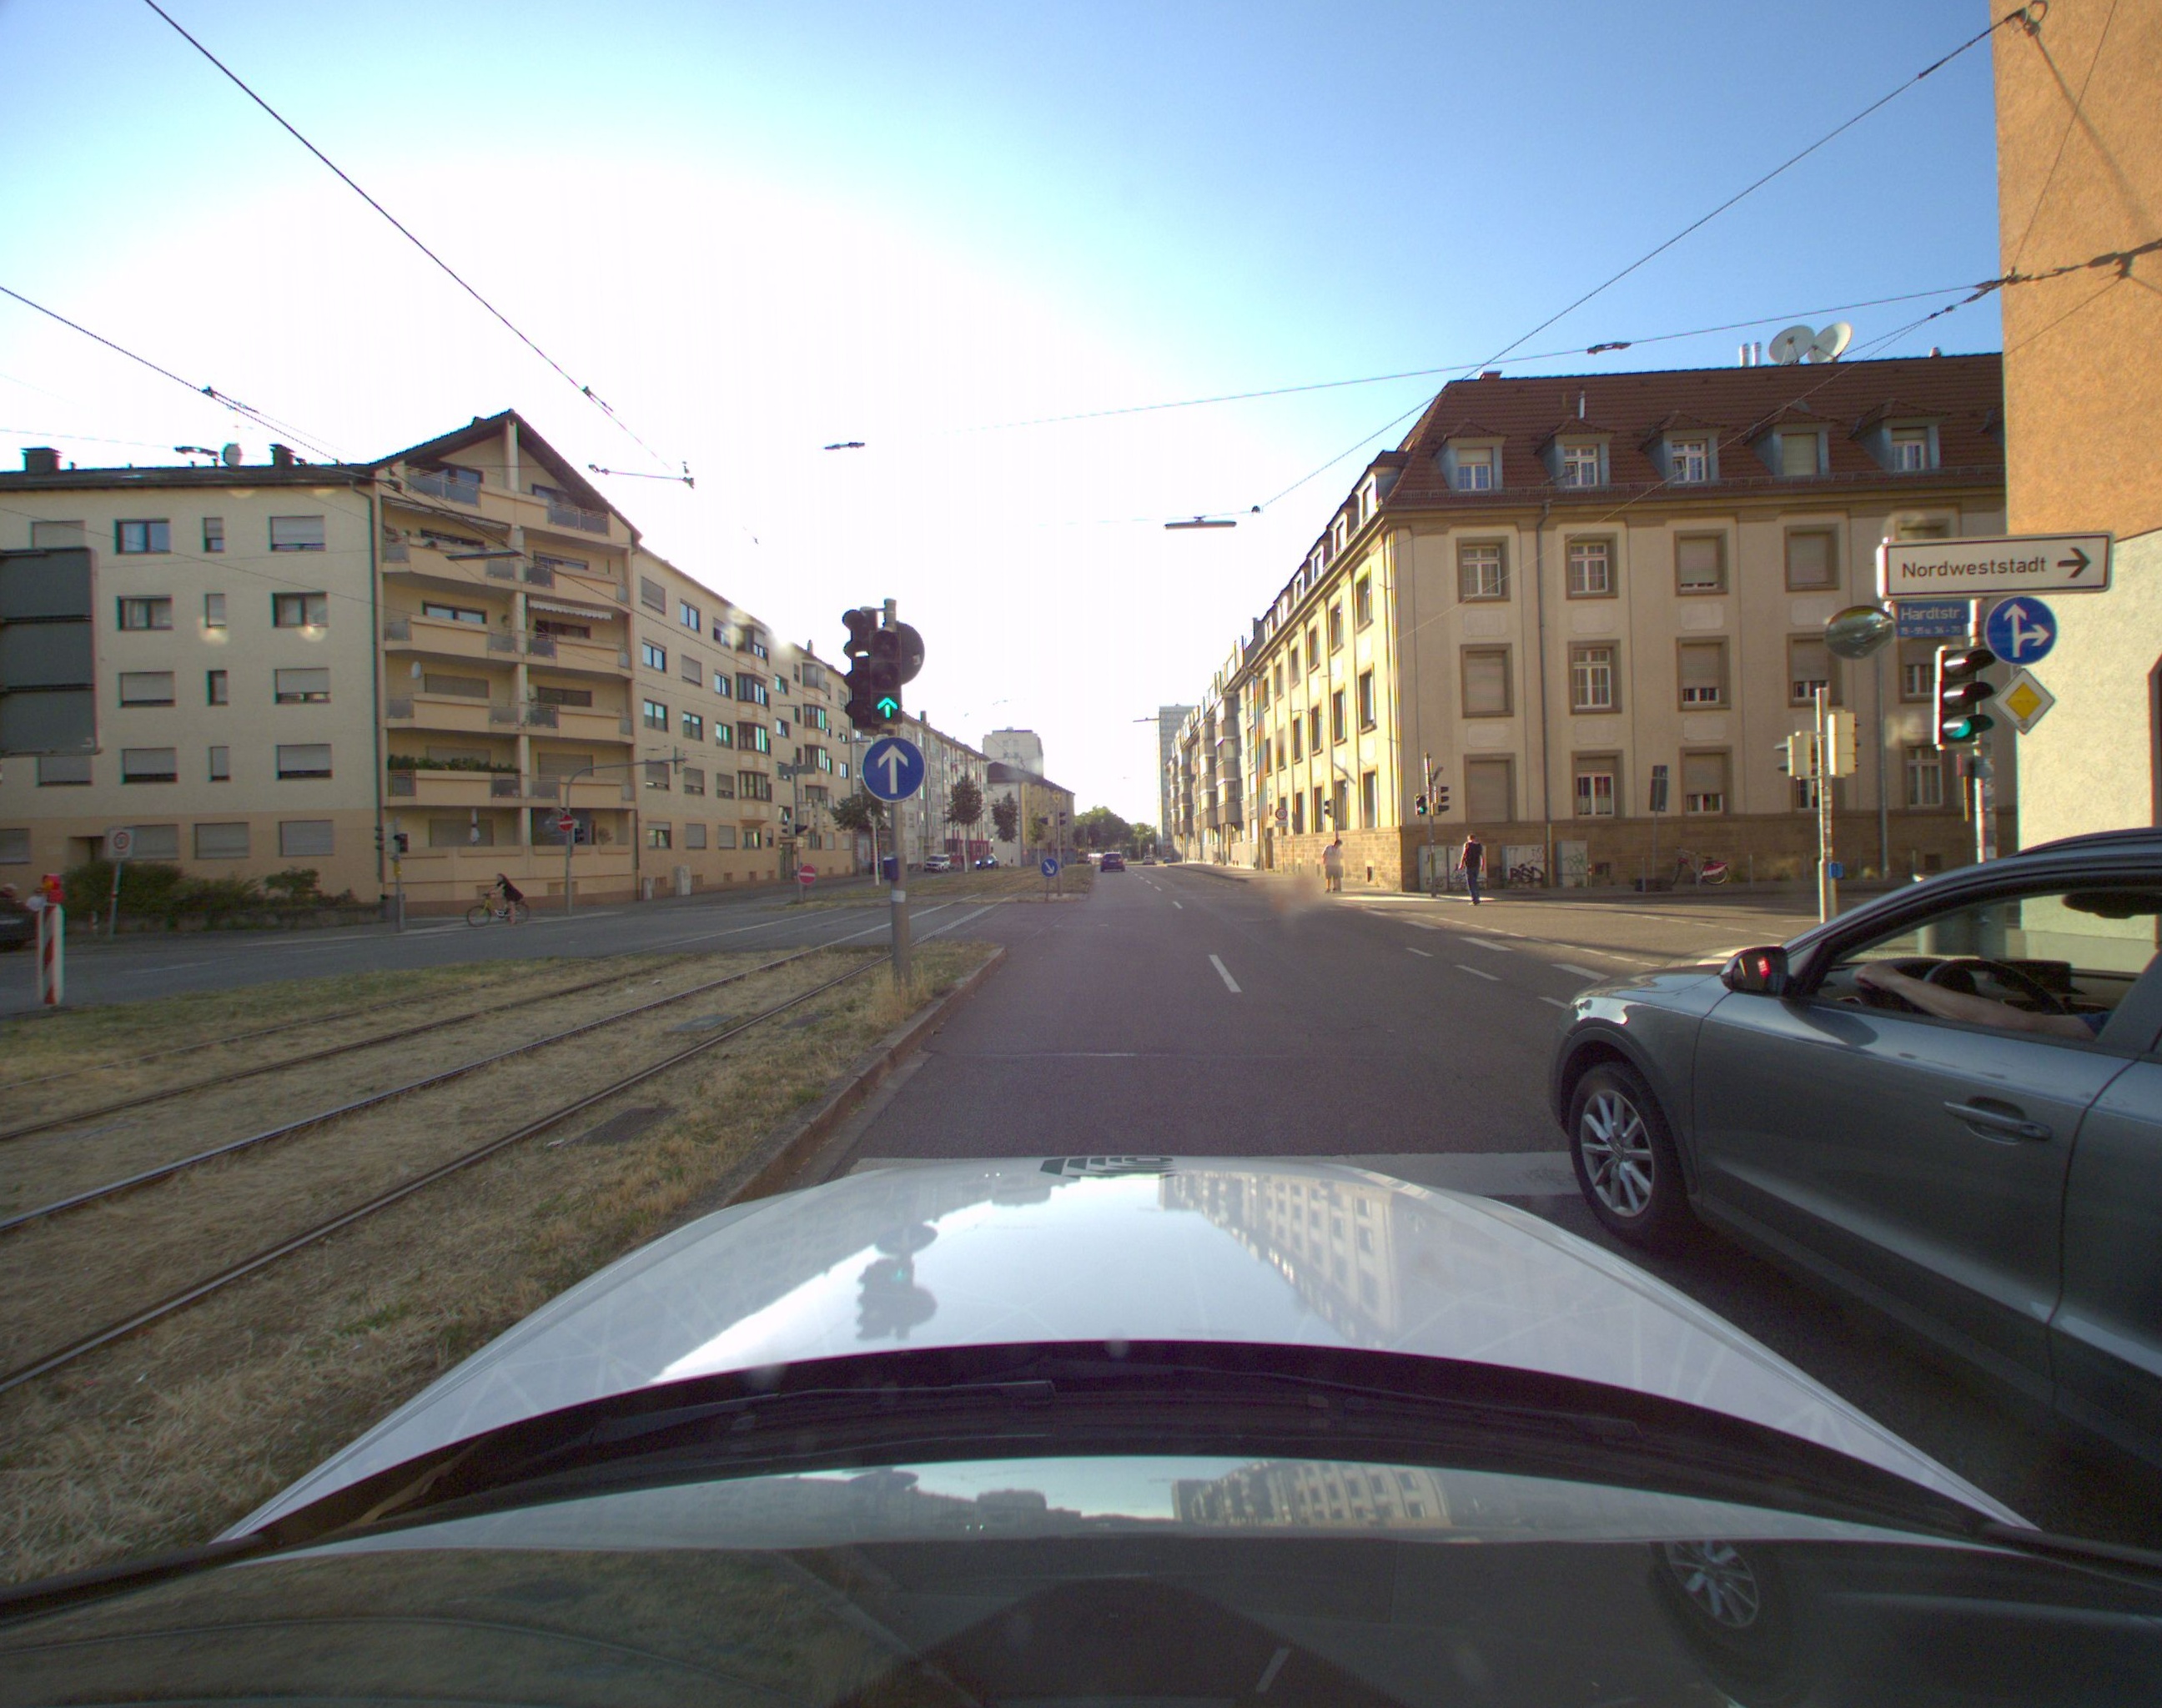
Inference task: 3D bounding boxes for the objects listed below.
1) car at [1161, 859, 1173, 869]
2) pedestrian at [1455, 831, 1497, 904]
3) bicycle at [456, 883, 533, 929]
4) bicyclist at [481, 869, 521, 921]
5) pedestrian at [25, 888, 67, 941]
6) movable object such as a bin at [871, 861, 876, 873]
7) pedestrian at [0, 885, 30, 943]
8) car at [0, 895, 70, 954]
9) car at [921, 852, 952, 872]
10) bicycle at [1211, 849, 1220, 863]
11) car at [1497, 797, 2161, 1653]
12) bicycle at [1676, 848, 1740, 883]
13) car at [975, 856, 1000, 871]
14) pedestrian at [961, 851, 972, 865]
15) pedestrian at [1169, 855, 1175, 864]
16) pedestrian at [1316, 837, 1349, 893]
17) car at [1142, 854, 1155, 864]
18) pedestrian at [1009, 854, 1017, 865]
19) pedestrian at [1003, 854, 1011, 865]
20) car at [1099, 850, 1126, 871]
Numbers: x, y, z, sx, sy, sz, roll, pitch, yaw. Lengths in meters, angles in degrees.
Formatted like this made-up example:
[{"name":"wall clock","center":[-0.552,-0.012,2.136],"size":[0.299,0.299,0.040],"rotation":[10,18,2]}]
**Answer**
[{"name":"car","center":[16.883,1.960,160.833],"size":[1.986,2.013,4.002],"rotation":[-2,0,2]},{"name":"pedestrian","center":[9.638,0.330,19.904],"size":[0.627,1.758,0.826],"rotation":[0,-1,1]},{"name":"bicycle","center":[-18.190,1.588,25.296],"size":[0.450,1.257,1.883],"rotation":[-1,1,34]},{"name":"bicyclist","center":[-18.119,1.261,25.436],"size":[0.620,1.586,0.814],"rotation":[-1,0,35]},{"name":"pedestrian","center":[-31.580,1.831,24.856],"size":[0.546,1.552,0.517],"rotation":[-1,2,7]},{"name":"movable object such as a bin","center":[-17.511,1.119,68.758],"size":[0.297,1.036,0.441],"rotation":[0,-1,1]},{"name":"pedestrian","center":[-31.871,1.773,24.241],"size":[0.587,1.705,0.464],"rotation":[-1,-1,7]},{"name":"car","center":[-30.215,1.960,21.557],"size":[3.983,1.442,1.995],"rotation":[-2,1,-7]},{"name":"car","center":[-14.523,0.829,82.092],"size":[1.984,1.925,4.548],"rotation":[0,-1,5]},{"name":"bicycle","center":[10.274,0.163,62.018],"size":[0.382,1.096,1.503],"rotation":[-2,-1,0]},{"name":"car","center":[2.822,0.676,1.873],"size":[1.691,1.552,4.227],"rotation":[0,0,2]},{"name":"bicycle","center":[18.432,0.332,23.966],"size":[1.491,1.018,0.251],"rotation":[-1,-1,17]},{"name":"car","center":[-10.521,1.062,91.605],"size":[1.889,1.633,4.752],"rotation":[-2,0,4]},{"name":"pedestrian","center":[-14.334,0.453,102.132],"size":[1.268,1.761,1.271],"rotation":[0,-1,-8]},{"name":"pedestrian","center":[12.908,0.758,115.400],"size":[0.689,1.234,0.737],"rotation":[0,-1,2]},{"name":"pedestrian","center":[8.108,0.345,26.266],"size":[0.832,1.762,0.824],"rotation":[0,-1,1]},{"name":"car","center":[10.876,0.881,131.207],"size":[1.985,1.564,4.004],"rotation":[0,-1,4]},{"name":"pedestrian","center":[-10.771,0.877,129.050],"size":[0.957,1.670,1.013],"rotation":[-1,-1,7]},{"name":"pedestrian","center":[-11.656,0.879,128.533],"size":[0.957,1.694,1.013],"rotation":[-1,-1,7]},{"name":"car","center":[2.323,0.464,60.471],"size":[1.919,1.456,4.329],"rotation":[0,-1,2]}]
